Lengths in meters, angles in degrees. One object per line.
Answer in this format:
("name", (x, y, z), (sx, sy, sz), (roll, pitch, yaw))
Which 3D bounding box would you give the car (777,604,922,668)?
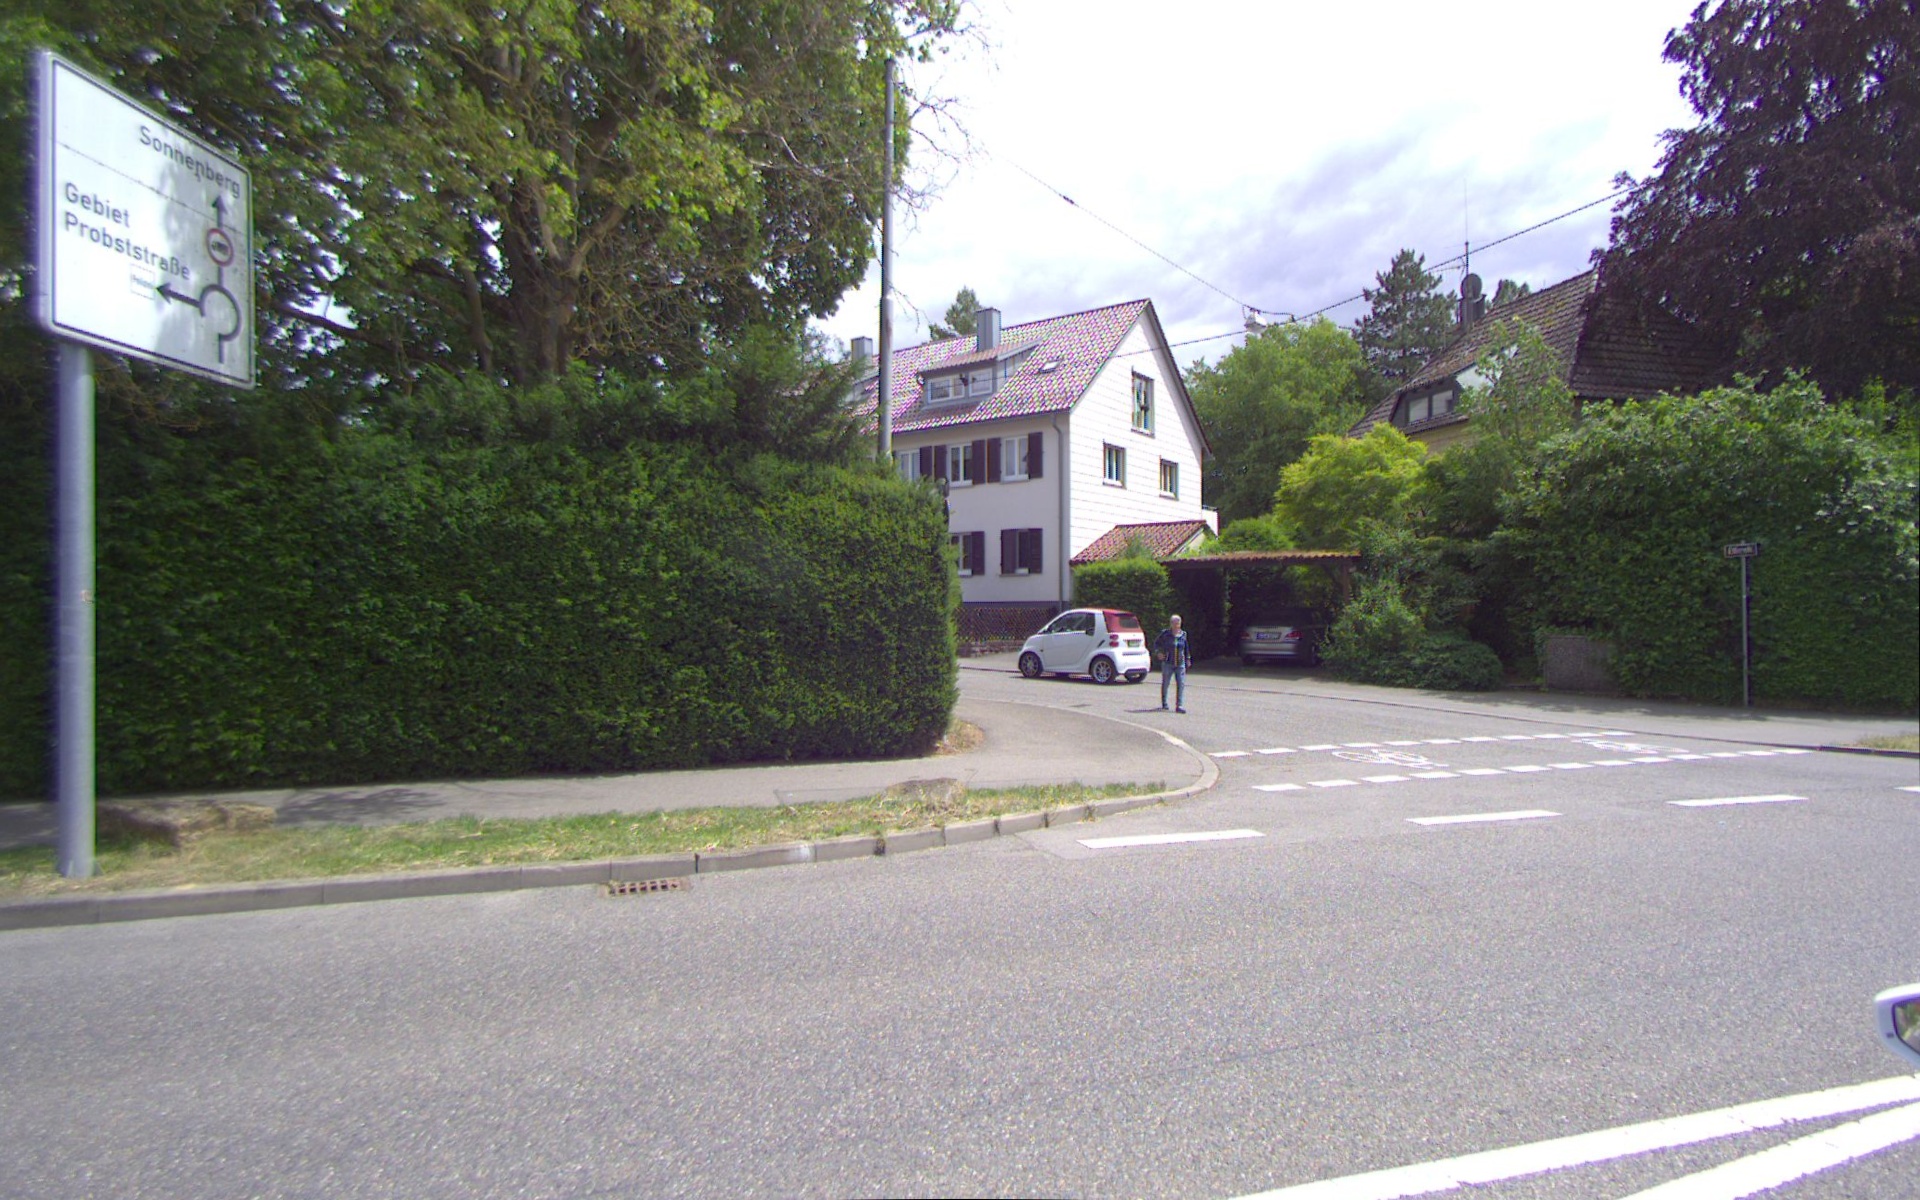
("car", (-2.879, 0.890, 25.946), (3.478, 1.474, 1.709), (1, 0, 37))

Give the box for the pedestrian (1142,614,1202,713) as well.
("pedestrian", (3.395, 0.997, 16.091), (0.719, 1.528, 0.625), (1, 0, 38))

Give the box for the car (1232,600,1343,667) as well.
("car", (8.283, 0.770, 25.215), (1.699, 1.530, 3.989), (1, 0, 33))

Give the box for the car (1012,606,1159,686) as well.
("car", (2.721, 0.957, 21.879), (2.735, 1.576, 1.583), (1, 0, 39))
